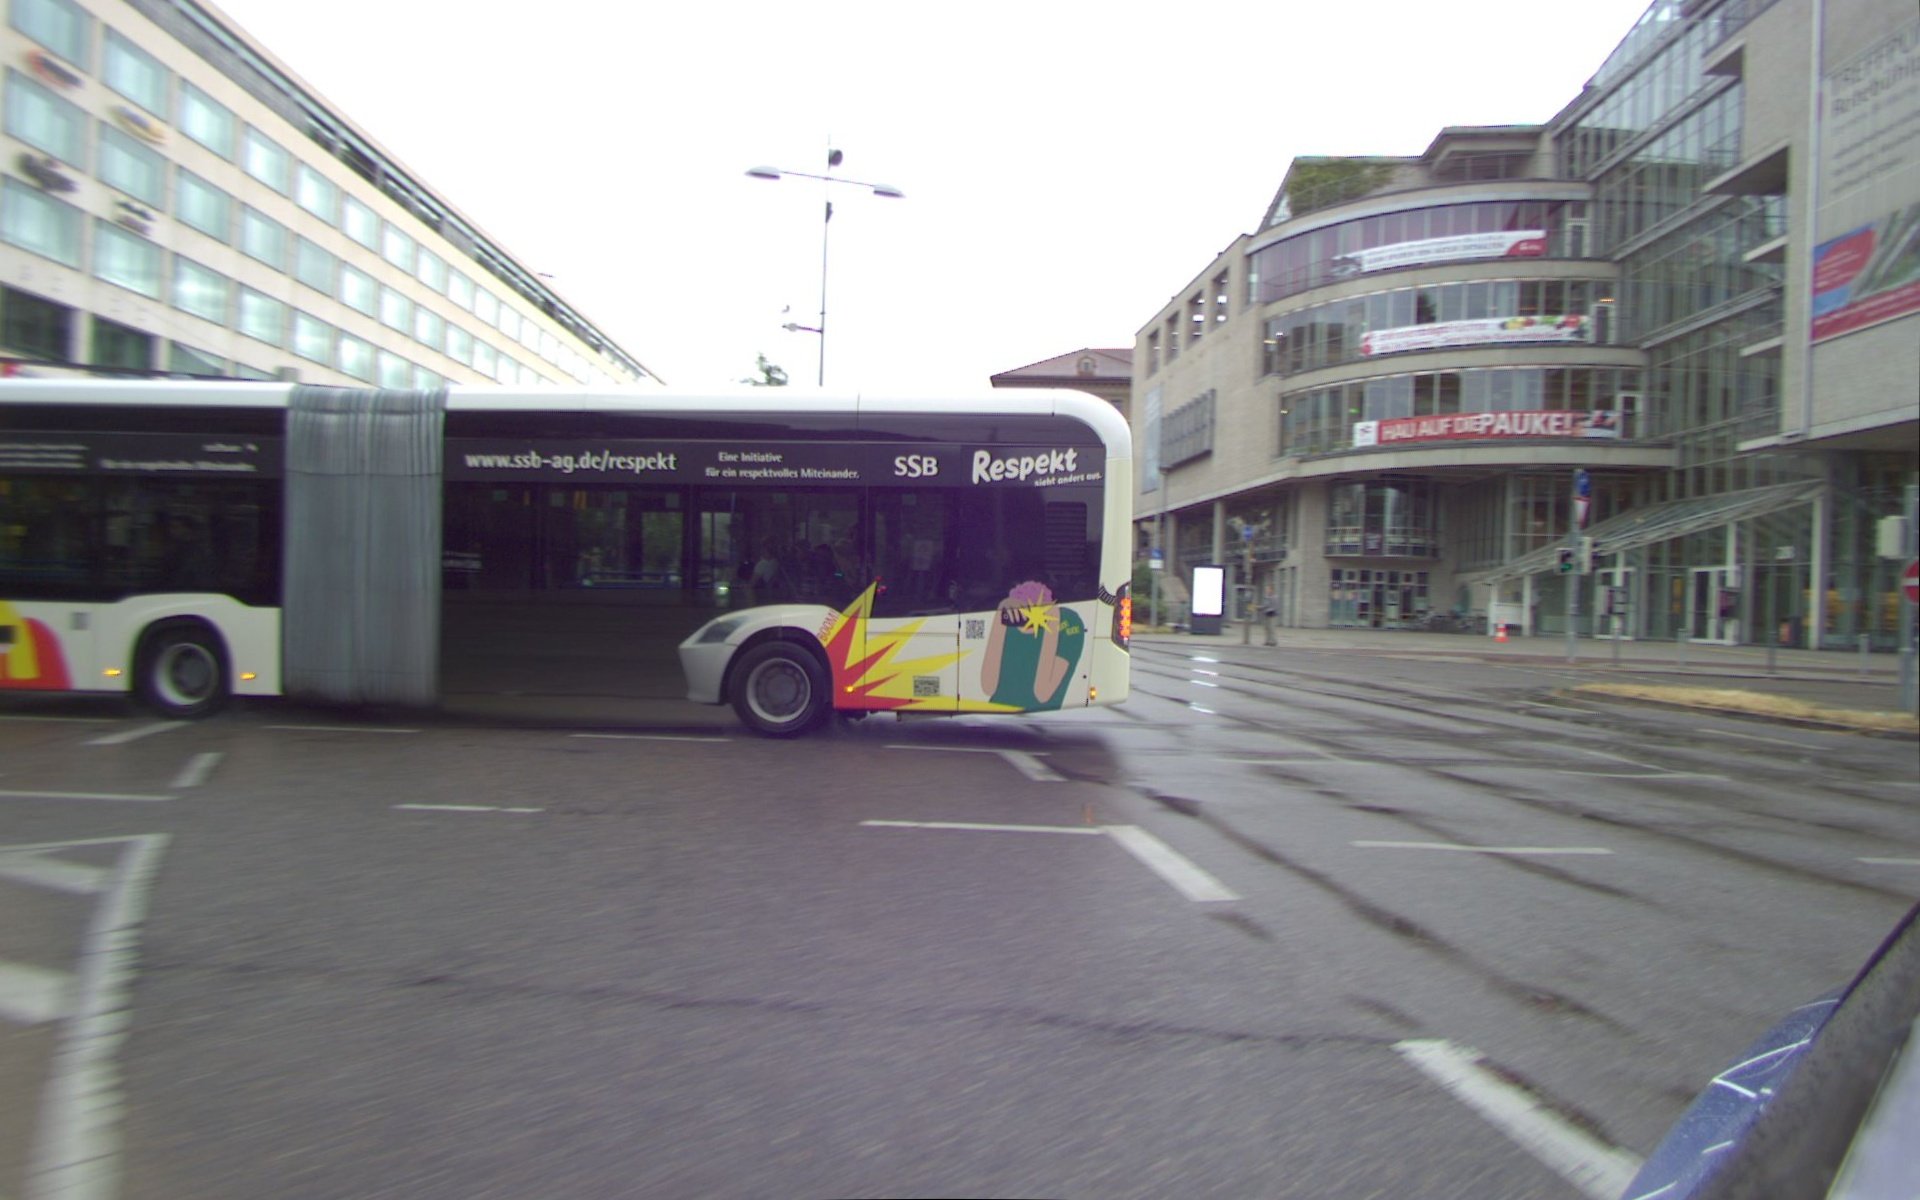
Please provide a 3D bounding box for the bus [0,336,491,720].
[{"bbox_3d":[-10.846,-0.781,11.176,10.130,3.634,2.686,1,0,2],"label":"bus"}]

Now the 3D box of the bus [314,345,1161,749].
[{"bbox_3d":[-2.113,-0.554,10.766,7.941,3.634,2.685,1,0,3],"label":"bus"}]
